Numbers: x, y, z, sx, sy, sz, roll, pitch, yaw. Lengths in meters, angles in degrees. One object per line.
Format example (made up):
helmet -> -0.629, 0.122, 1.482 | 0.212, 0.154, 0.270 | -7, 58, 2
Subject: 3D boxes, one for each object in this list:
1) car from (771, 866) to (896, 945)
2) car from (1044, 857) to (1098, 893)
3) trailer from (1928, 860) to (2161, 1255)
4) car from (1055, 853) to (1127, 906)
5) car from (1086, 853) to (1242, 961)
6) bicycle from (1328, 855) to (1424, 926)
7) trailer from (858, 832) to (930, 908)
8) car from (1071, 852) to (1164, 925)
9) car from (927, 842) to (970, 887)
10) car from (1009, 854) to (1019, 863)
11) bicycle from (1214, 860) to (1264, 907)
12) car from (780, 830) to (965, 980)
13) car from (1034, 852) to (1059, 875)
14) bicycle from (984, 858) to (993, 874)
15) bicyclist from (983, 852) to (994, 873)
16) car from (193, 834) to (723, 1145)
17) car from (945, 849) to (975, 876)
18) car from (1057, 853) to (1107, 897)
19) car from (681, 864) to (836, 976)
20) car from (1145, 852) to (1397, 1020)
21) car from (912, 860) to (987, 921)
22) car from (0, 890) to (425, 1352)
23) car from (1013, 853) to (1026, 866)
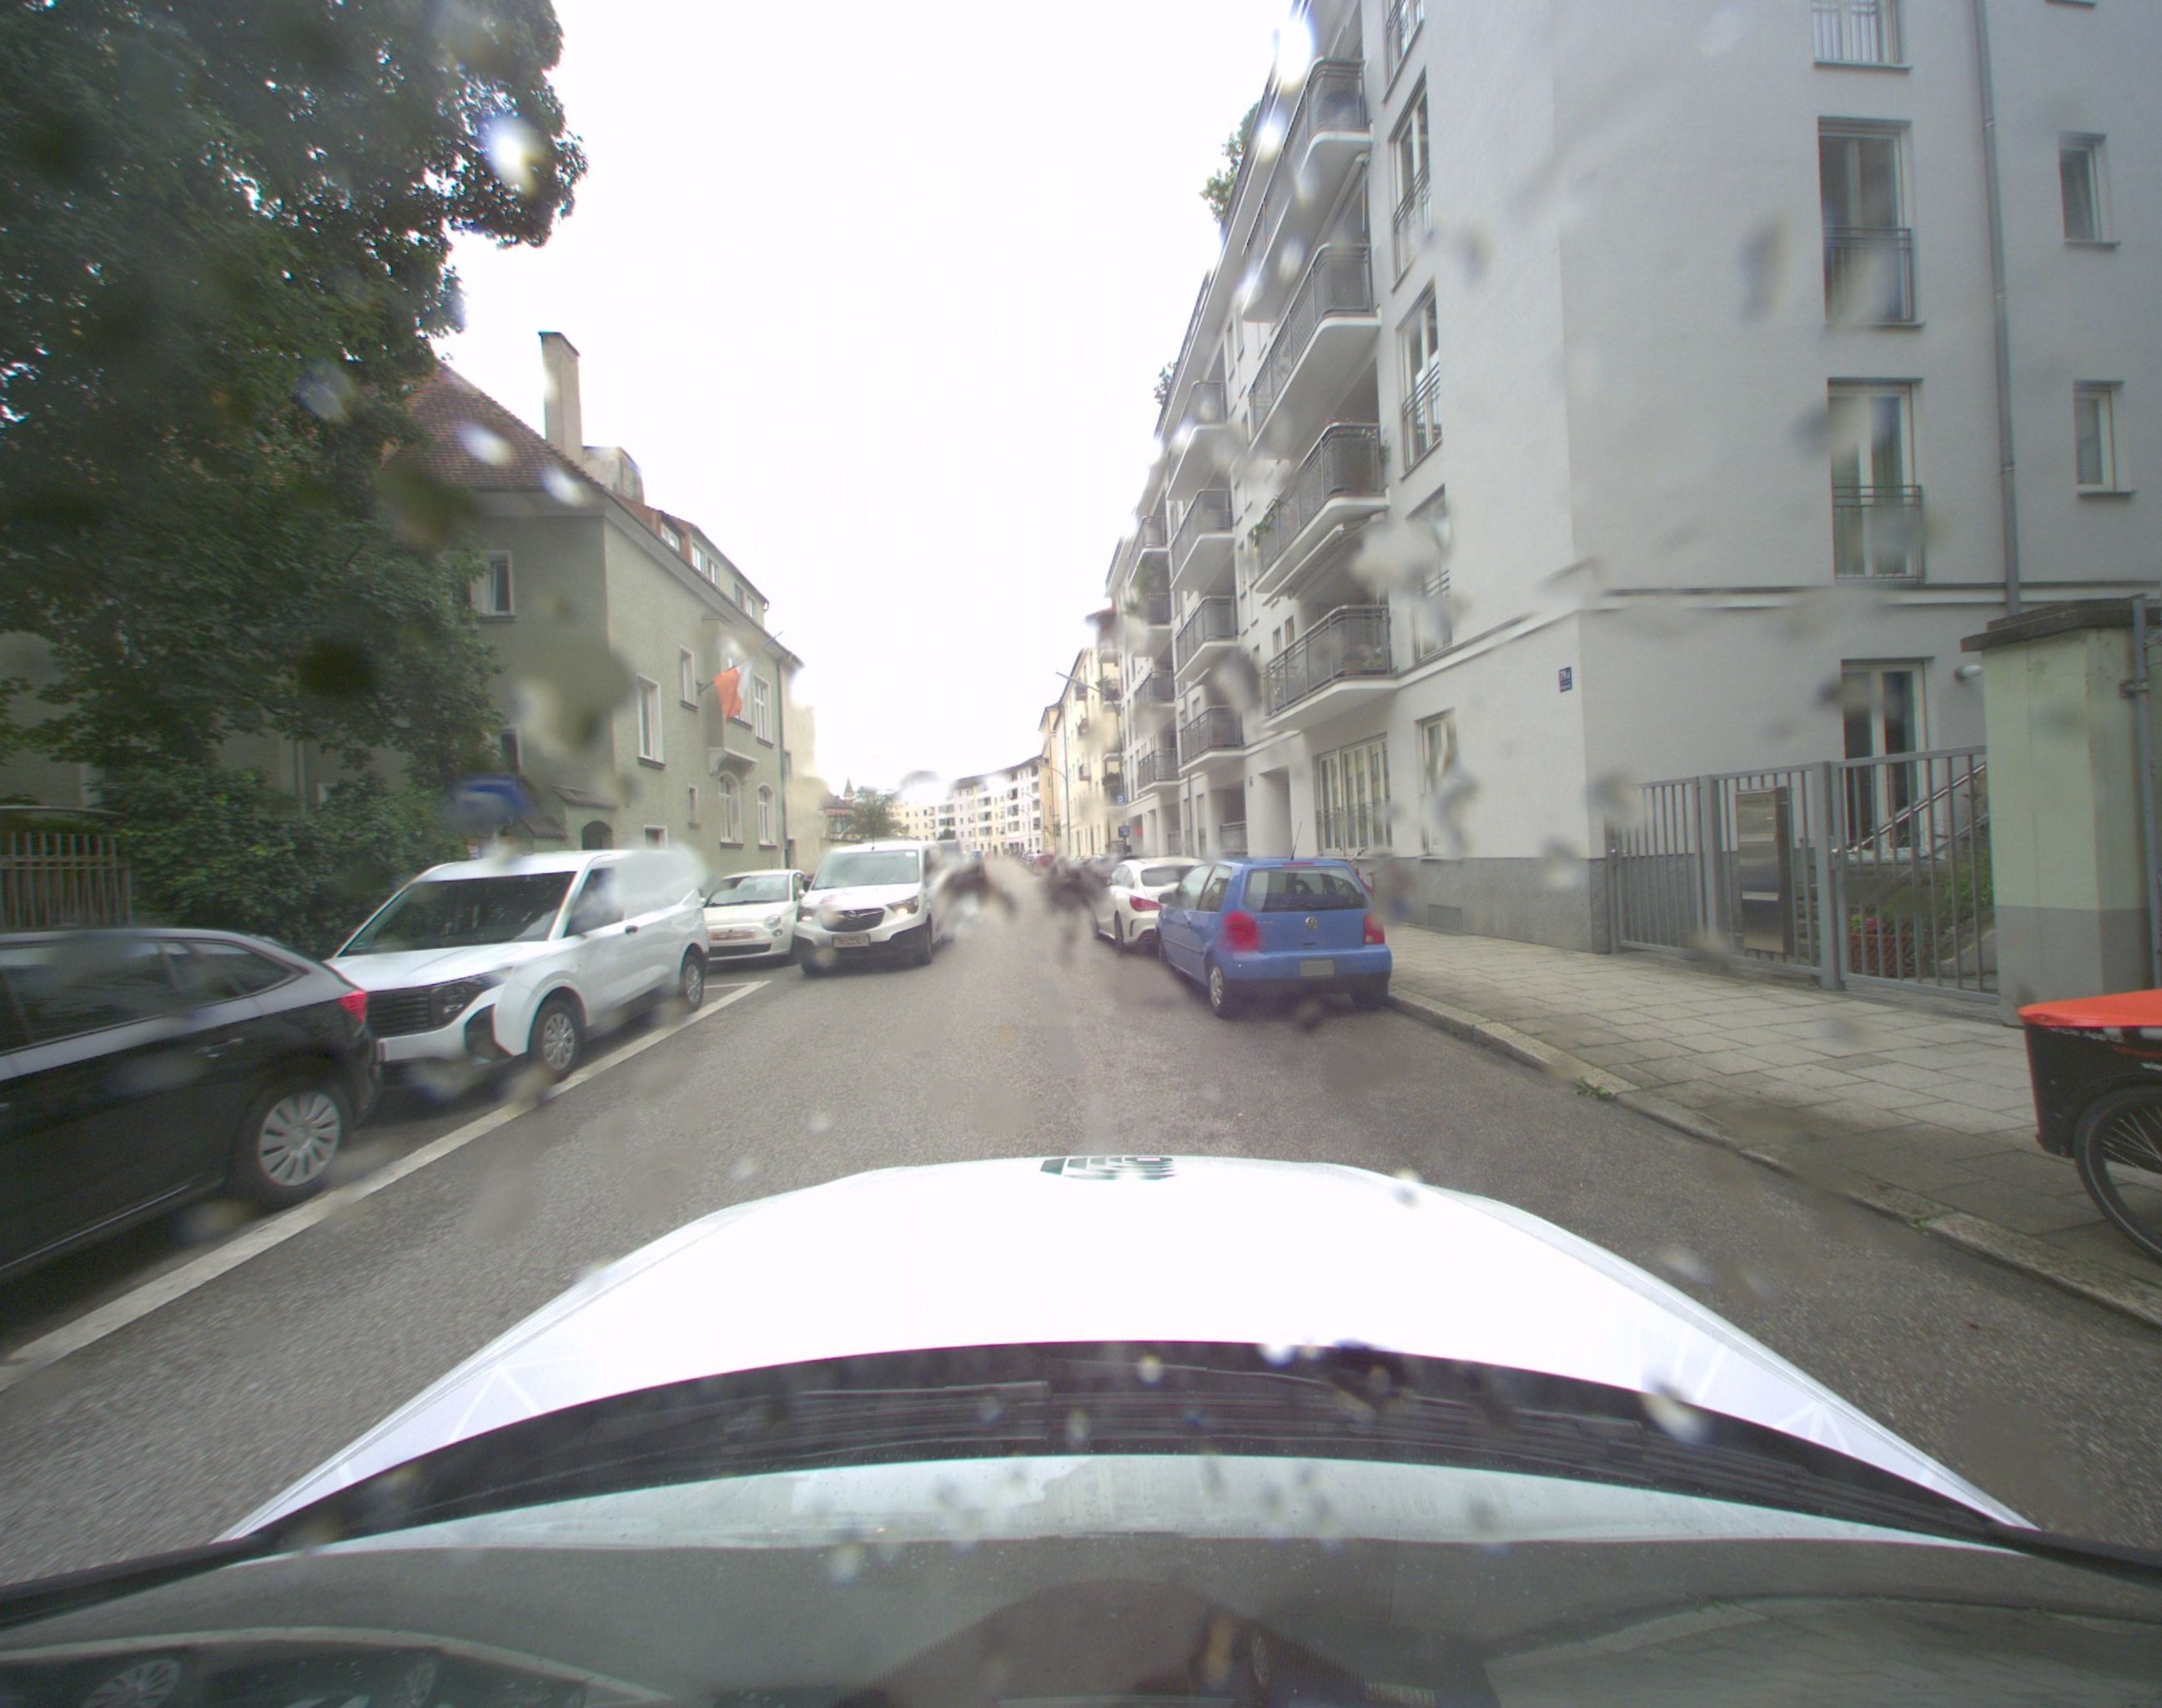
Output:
car -> -5.440, 1.063, 18.464 | 1.859, 1.412, 4.323 | -5, 0, -7
car -> -0.480, 0.862, 34.757 | 1.762, 1.408, 4.067 | -2, 0, -8
trailer -> 3.903, 0.664, 2.176 | 0.939, 1.183, 2.164 | -6, 0, 0
car -> 0.222, 0.733, 25.979 | 1.732, 1.530, 4.611 | 0, 0, -6
car -> 1.151, 0.715, 13.152 | 1.656, 1.440, 4.197 | 0, 0, -7
bicycle -> 4.706, 0.574, 13.120 | 0.676, 1.028, 1.830 | -3, -2, -6
trailer -> -6.779, 0.539, 29.959 | 1.706, 2.461, 4.380 | -5, 0, -4
car -> 0.759, 0.724, 19.243 | 1.602, 1.530, 3.975 | 0, 0, -7
car -> -8.387, 0.584, 52.106 | 2.084, 2.636, 5.369 | -3, 1, -4
car -> -9.368, 0.609, 114.341 | 1.271, 1.299, 2.791 | -2, 0, -7
bicycle -> 4.224, 0.758, 21.939 | 0.627, 1.160, 2.122 | -3, 0, -7
car -> -3.015, 0.664, 12.807 | 1.767, 1.803, 4.568 | -4, 0, -2
car -> -2.522, 0.647, 58.616 | 1.593, 1.509, 3.794 | -3, 0, -5
bicycle -> -7.298, 0.940, 64.124 | 0.503, 1.128, 1.771 | -4, 0, -2
bicyclist -> -7.292, 0.658, 64.087 | 0.692, 1.561, 0.965 | -4, 0, -3
car -> -4.793, 0.830, 7.187 | 1.688, 1.803, 4.136 | -4, 0, -6
car -> -9.524, 0.638, 64.488 | 1.879, 1.931, 4.593 | -4, 1, -5
car -> -0.012, 0.756, 30.619 | 1.517, 1.530, 3.519 | -1, 0, -6
car -> -5.167, 0.971, 13.478 | 1.472, 1.466, 3.306 | -4, 0, -7
car -> 1.788, 0.710, 8.772 | 1.616, 1.412, 3.547 | 0, 0, -5
car -> -3.421, 0.898, 21.731 | 1.578, 1.411, 3.607 | -3, 0, -4
car -> -4.467, 0.995, 2.513 | 1.687, 1.442, 4.138 | -4, 0, -5
car -> -7.786, 0.697, 103.208 | 1.472, 1.641, 3.991 | -1, 0, -7
